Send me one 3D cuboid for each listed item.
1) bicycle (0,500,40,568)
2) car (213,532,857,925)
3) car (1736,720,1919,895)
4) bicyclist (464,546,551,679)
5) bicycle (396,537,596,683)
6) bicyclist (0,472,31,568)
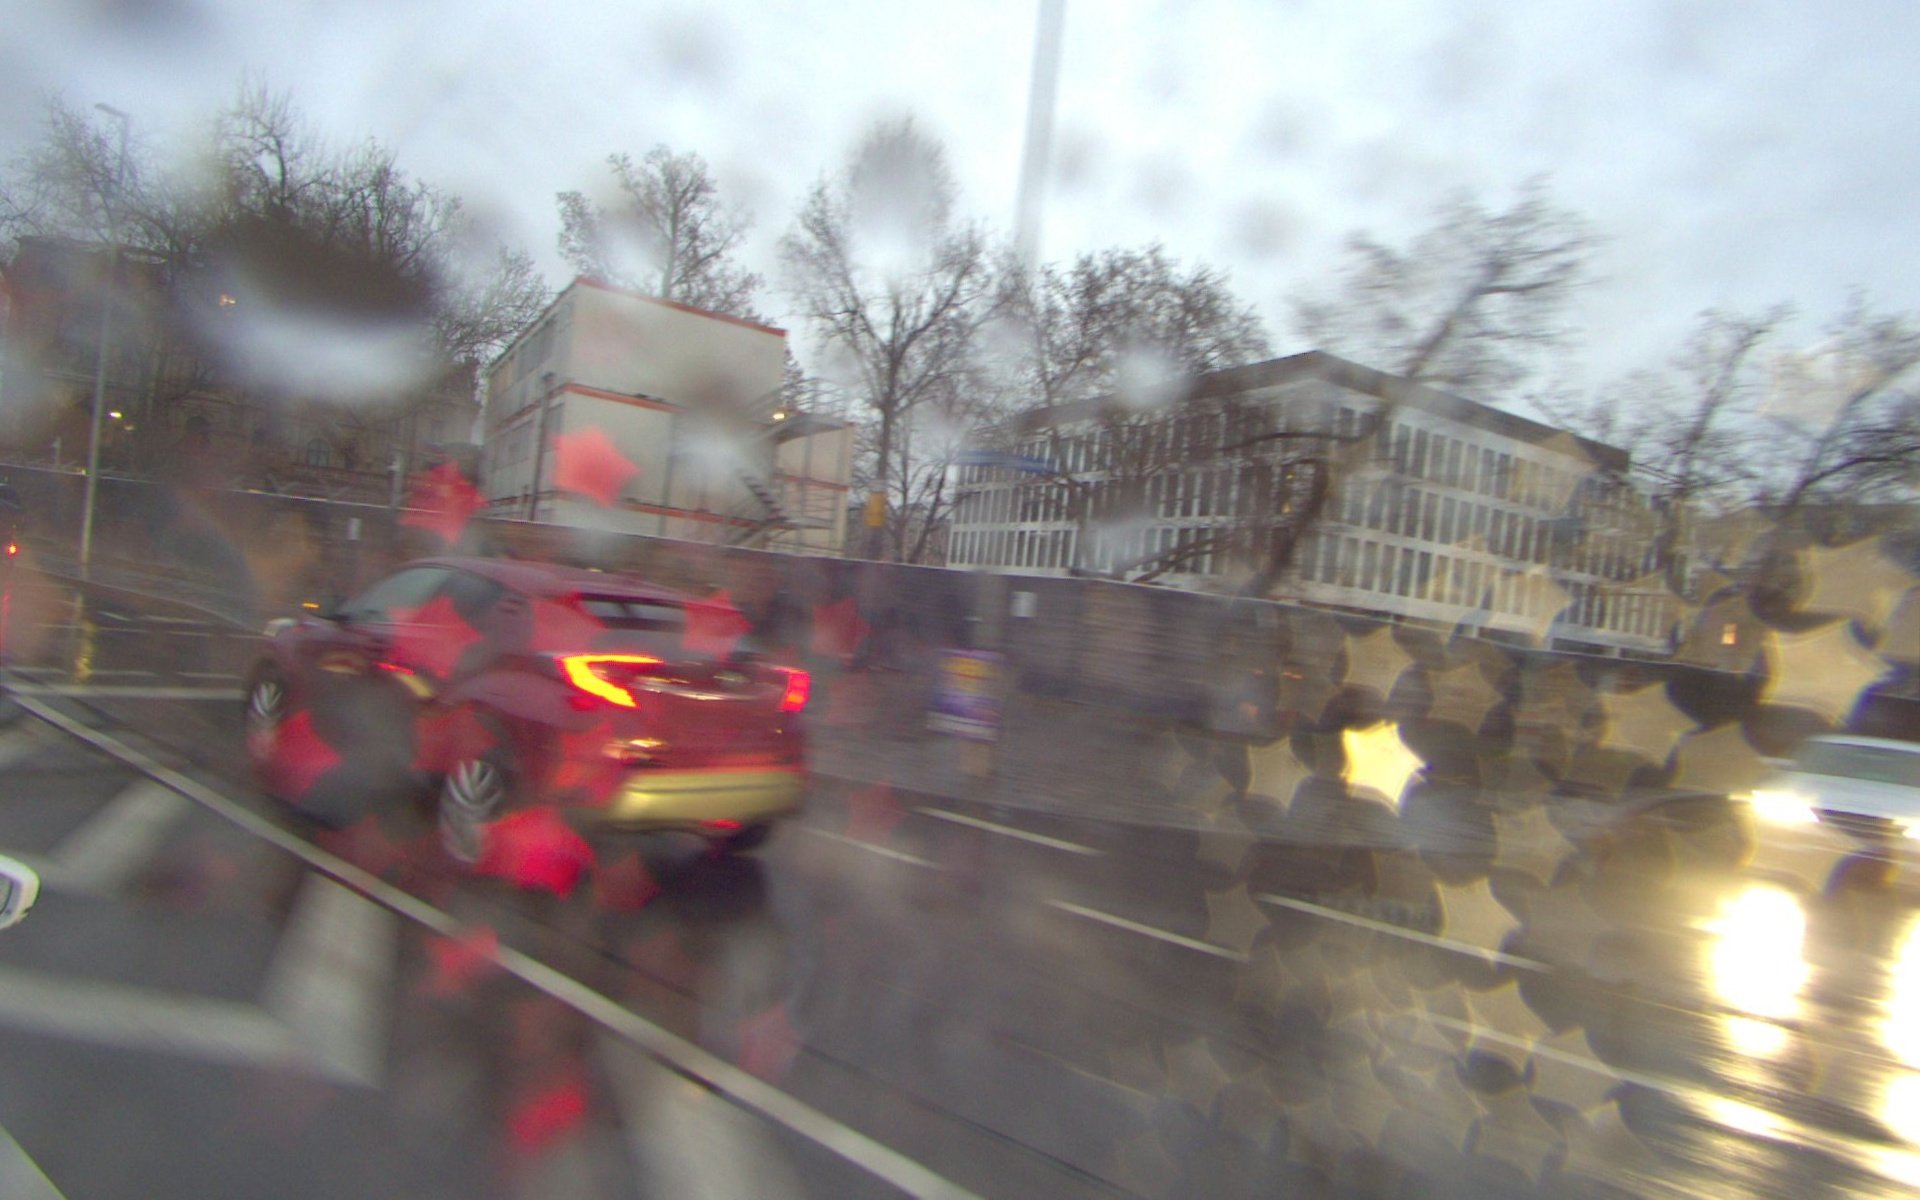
[{"bbox_3d":[-18.502,-1.312,19.413,1.994,1.200,0.412,7,1,29],"label":"bicycle"},{"bbox_3d":[-2.717,0.542,6.053,3.940,1.496,1.723,6,-2,37],"label":"car"},{"bbox_3d":[10.774,2.328,11.833,4.489,1.507,1.859,7,0,-44],"label":"car"},{"bbox_3d":[-6.191,0.165,13.796,0.804,1.700,0.695,6,1,-13],"label":"bicyclist"},{"bbox_3d":[-6.284,0.153,13.760,2.211,1.676,0.688,7,-1,-13],"label":"bicycle"},{"bbox_3d":[-18.519,-1.564,19.427,0.823,1.789,0.500,7,1,29],"label":"bicyclist"}]
